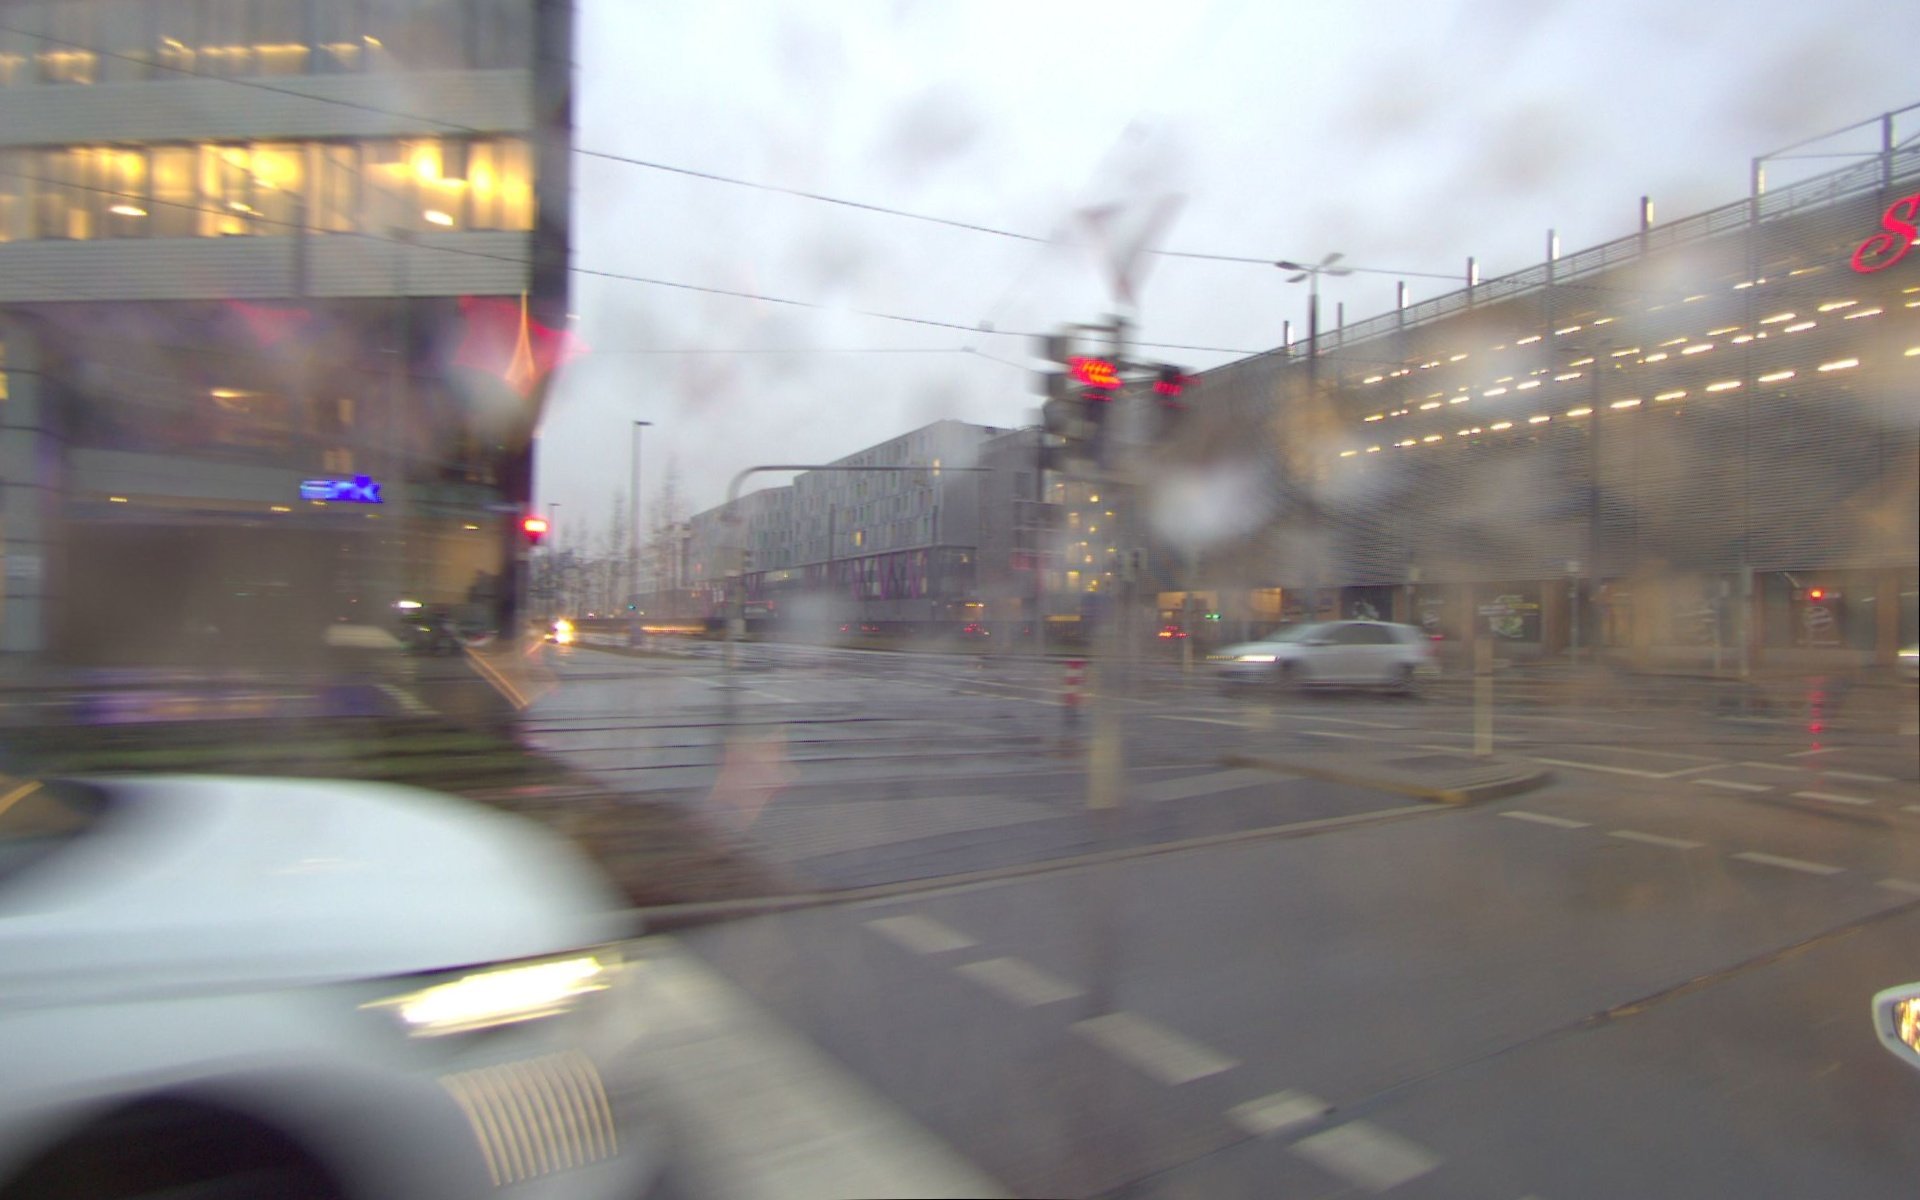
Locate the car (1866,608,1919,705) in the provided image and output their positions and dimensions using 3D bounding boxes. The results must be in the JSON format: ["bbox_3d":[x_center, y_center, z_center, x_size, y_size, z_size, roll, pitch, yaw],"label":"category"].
[{"bbox_3d":[23.367,1.248,21.602,5.546,2.086,1.955,0,-1,11],"label":"car"}]

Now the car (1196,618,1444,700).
[{"bbox_3d":[7.053,1.147,19.916,4.261,1.505,1.864,1,-1,-8],"label":"car"}]

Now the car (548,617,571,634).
[{"bbox_3d":[-40.941,2.552,102.624,1.811,1.684,3.971,1,-2,-28],"label":"car"}]

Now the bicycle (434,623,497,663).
[{"bbox_3d":[-13.992,1.203,28.446,1.581,1.084,0.638,1,-1,-28],"label":"bicycle"}]

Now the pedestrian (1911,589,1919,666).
[{"bbox_3d":[37.487,1.067,38.654,1.100,2.964,0.959,2,0,-27],"label":"pedestrian"}]

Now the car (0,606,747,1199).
[{"bbox_3d":[-2.510,0.738,1.628,3.875,1.483,1.748,2,-1,-33],"label":"car"}]
